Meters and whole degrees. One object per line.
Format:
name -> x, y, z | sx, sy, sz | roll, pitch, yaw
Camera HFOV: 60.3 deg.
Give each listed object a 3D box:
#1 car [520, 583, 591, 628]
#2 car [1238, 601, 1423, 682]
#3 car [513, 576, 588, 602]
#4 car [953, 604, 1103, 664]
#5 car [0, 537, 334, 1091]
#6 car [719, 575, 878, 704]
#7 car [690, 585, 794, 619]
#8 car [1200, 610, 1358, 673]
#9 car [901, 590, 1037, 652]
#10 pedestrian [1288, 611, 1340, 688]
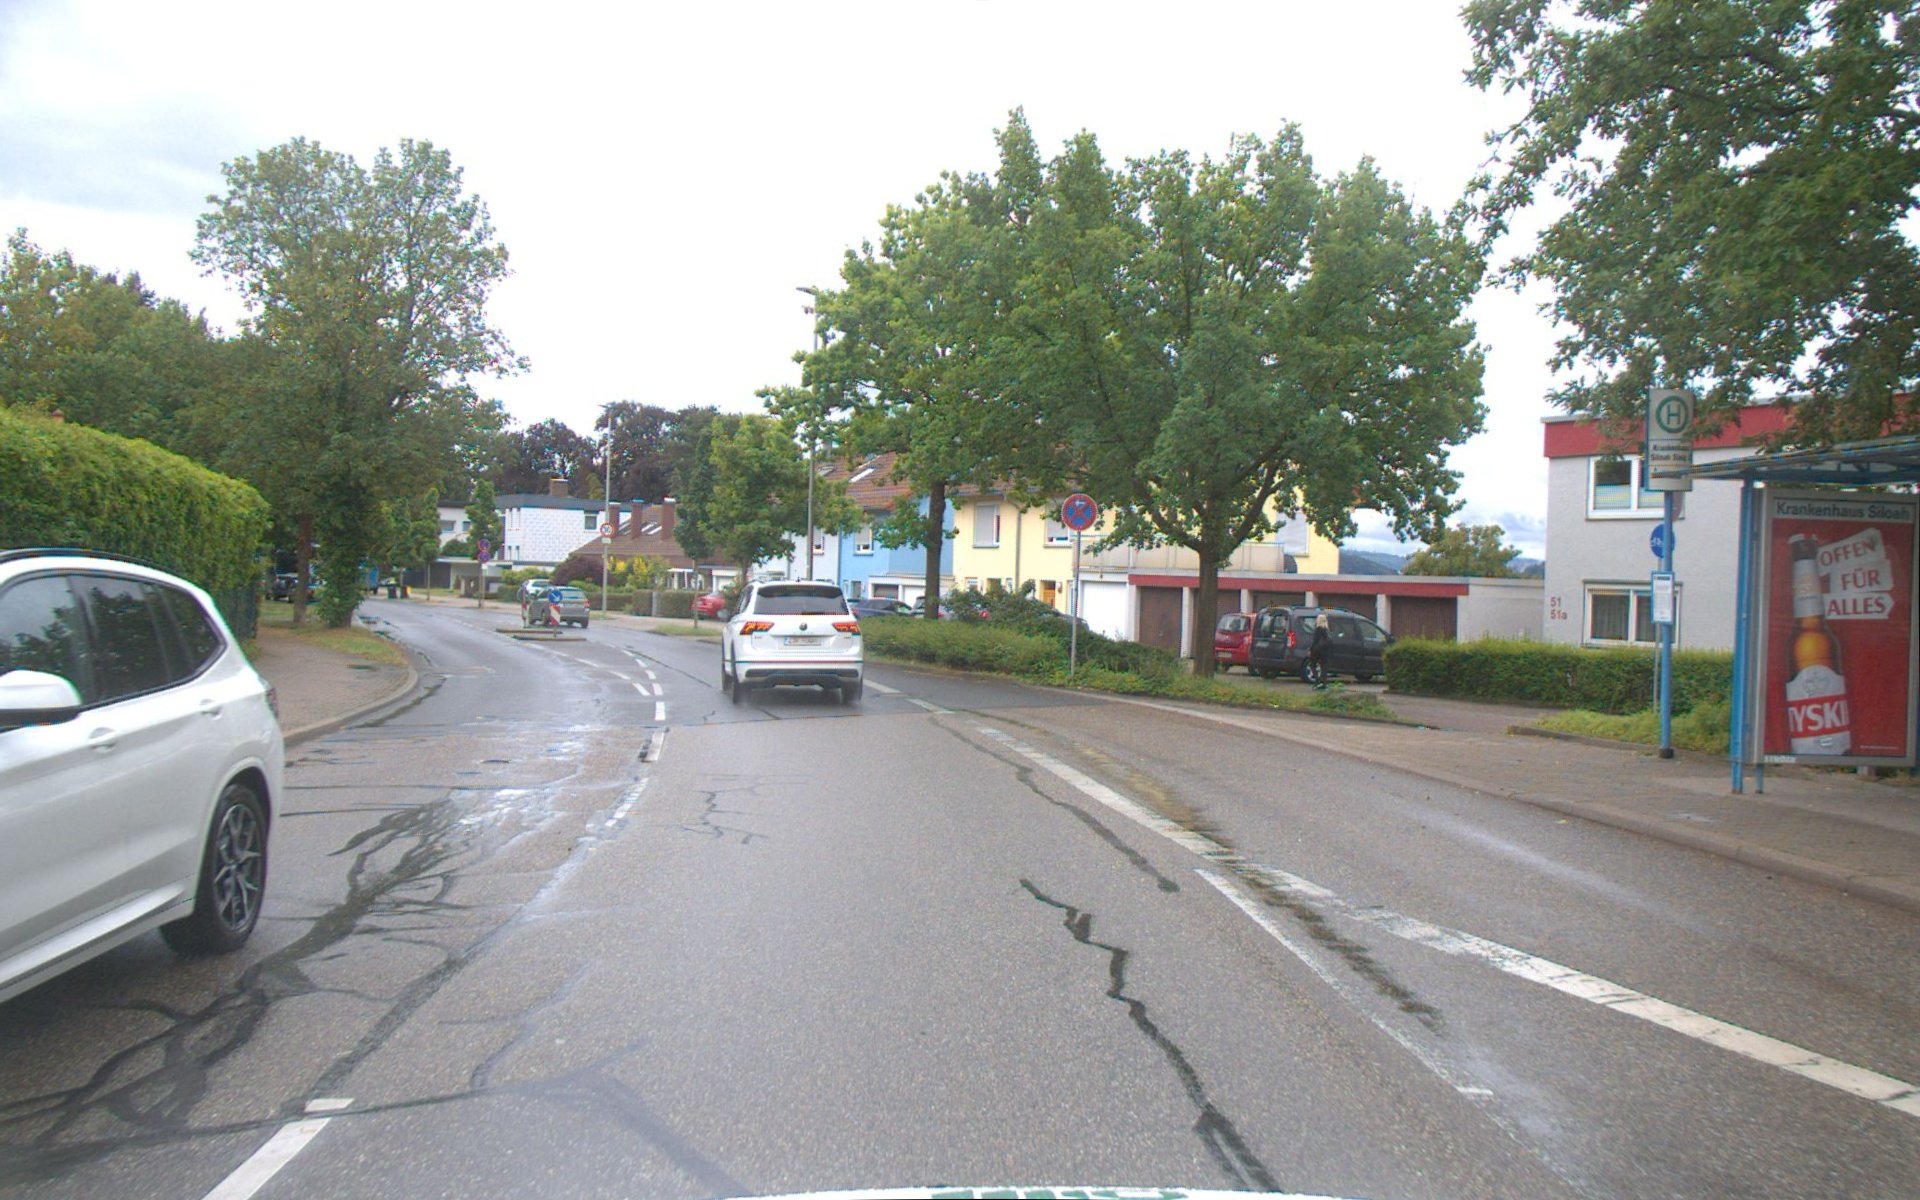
car -> -15.018, 0.173, 61.334 | 1.747, 1.578, 3.967 | 1, 0, -26
car -> 8.531, 0.944, 38.048 | 3.947, 1.751, 1.904 | 1, 0, -32
car -> -24.308, -0.662, 98.147 | 3.947, 1.467, 1.828 | 1, 0, -32
car -> 2.063, 1.039, 50.148 | 4.133, 1.701, 1.973 | 1, 0, -29
car -> -3.795, 0.610, 5.470 | 1.853, 1.639, 4.861 | 2, 0, -4
car -> -2.397, 0.510, 23.714 | 1.832, 1.679, 3.988 | 1, 0, -12
car -> -9.604, 0.109, 73.008 | 4.276, 1.282, 1.655 | 3, 0, -40
car -> 7.865, 1.021, 40.699 | 3.655, 1.467, 1.689 | 1, 0, -32
car -> 0.309, 0.683, 52.898 | 4.148, 1.701, 1.699 | 4, -1, -37
pedestrian -> 7.484, 1.032, 34.973 | 0.658, 1.585, 0.832 | 2, 0, -35
